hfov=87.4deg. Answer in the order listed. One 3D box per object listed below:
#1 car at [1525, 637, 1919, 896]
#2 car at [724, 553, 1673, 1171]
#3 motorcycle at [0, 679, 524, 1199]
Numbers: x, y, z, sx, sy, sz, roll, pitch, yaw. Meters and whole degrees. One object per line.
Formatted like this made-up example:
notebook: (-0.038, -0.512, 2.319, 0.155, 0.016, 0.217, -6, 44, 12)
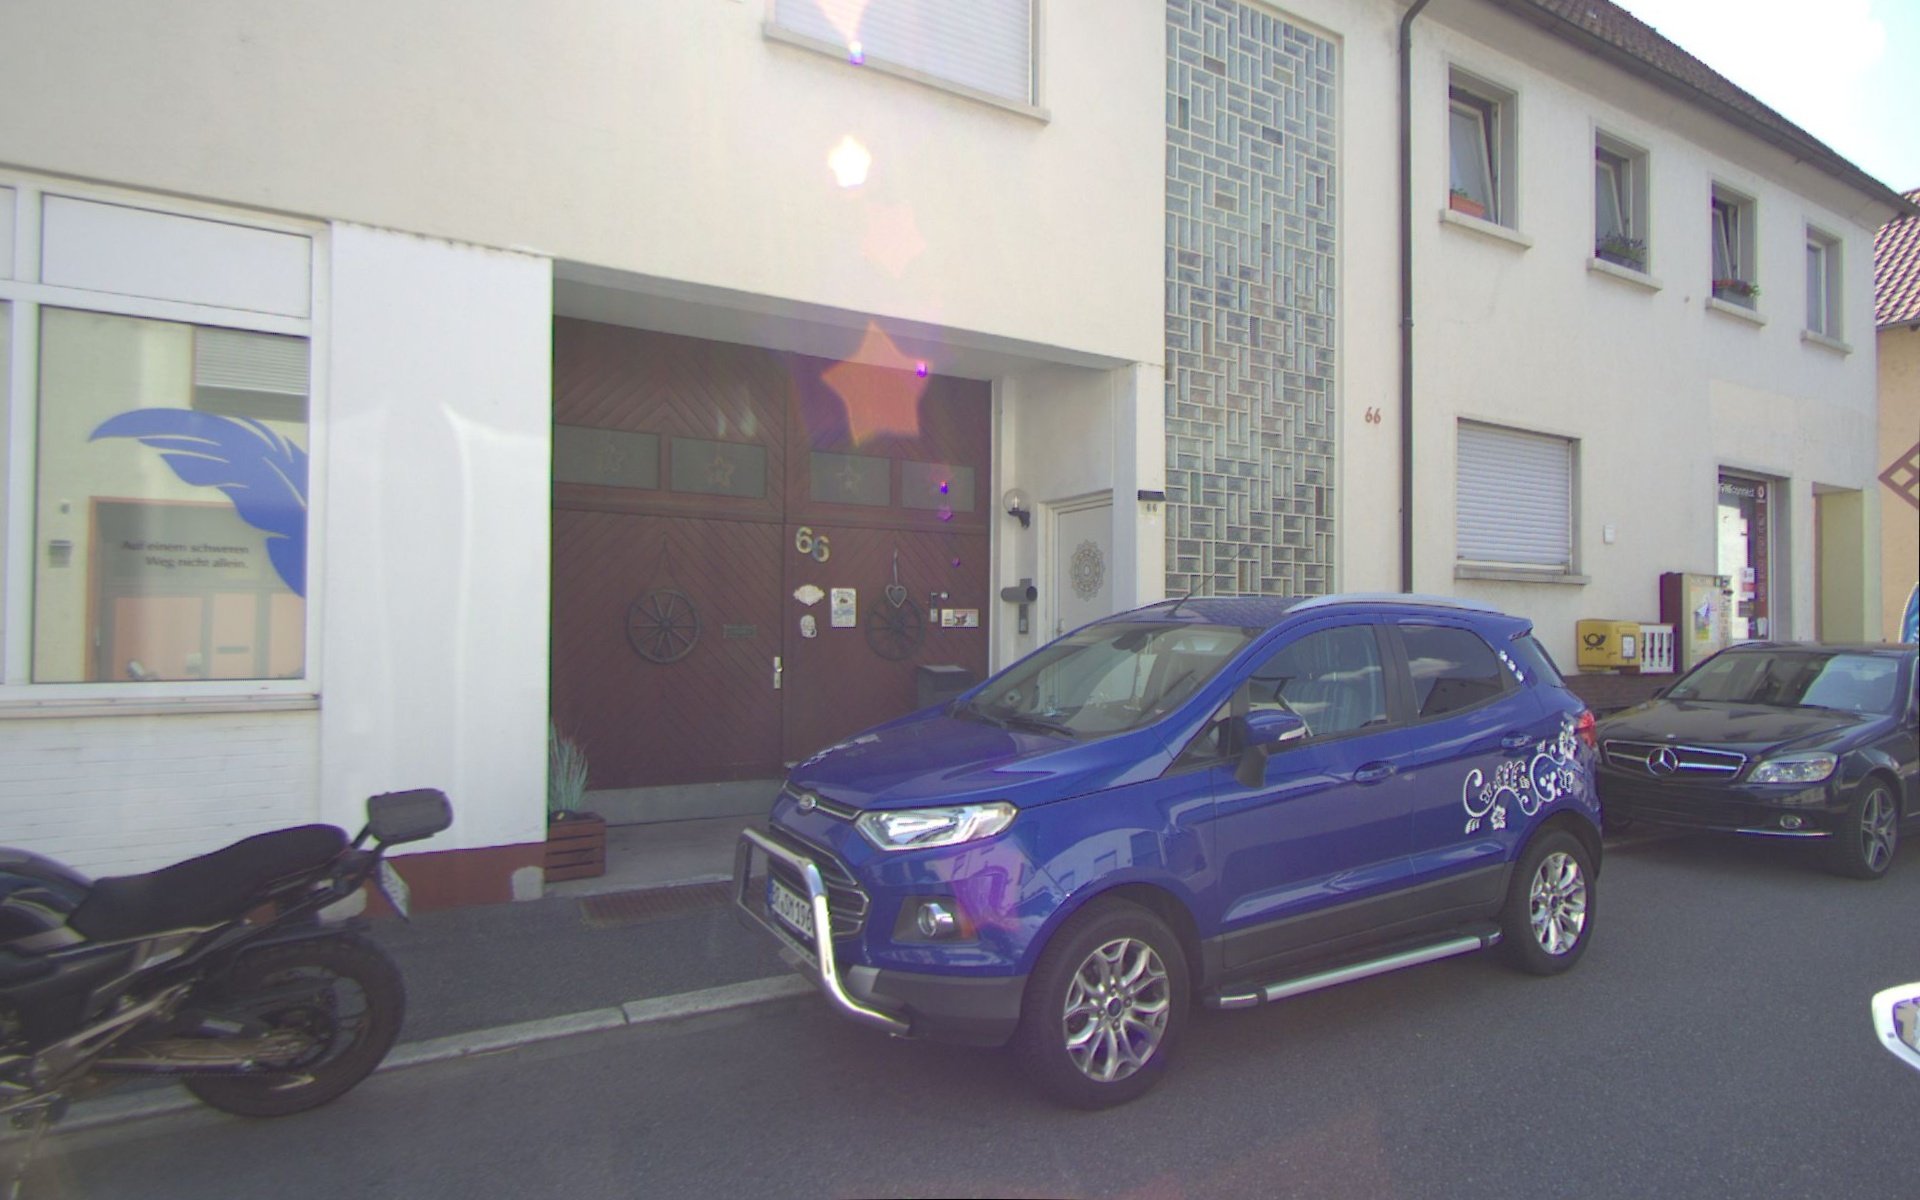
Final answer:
car: (6.330, 1.010, 7.488, 4.336, 1.430, 1.690, 1, -1, -29)
car: (1.199, 0.780, 4.511, 4.100, 1.661, 1.709, 1, -3, -30)
motorcycle: (-2.343, 0.921, 2.690, 2.080, 1.330, 0.804, 1, -1, -30)
